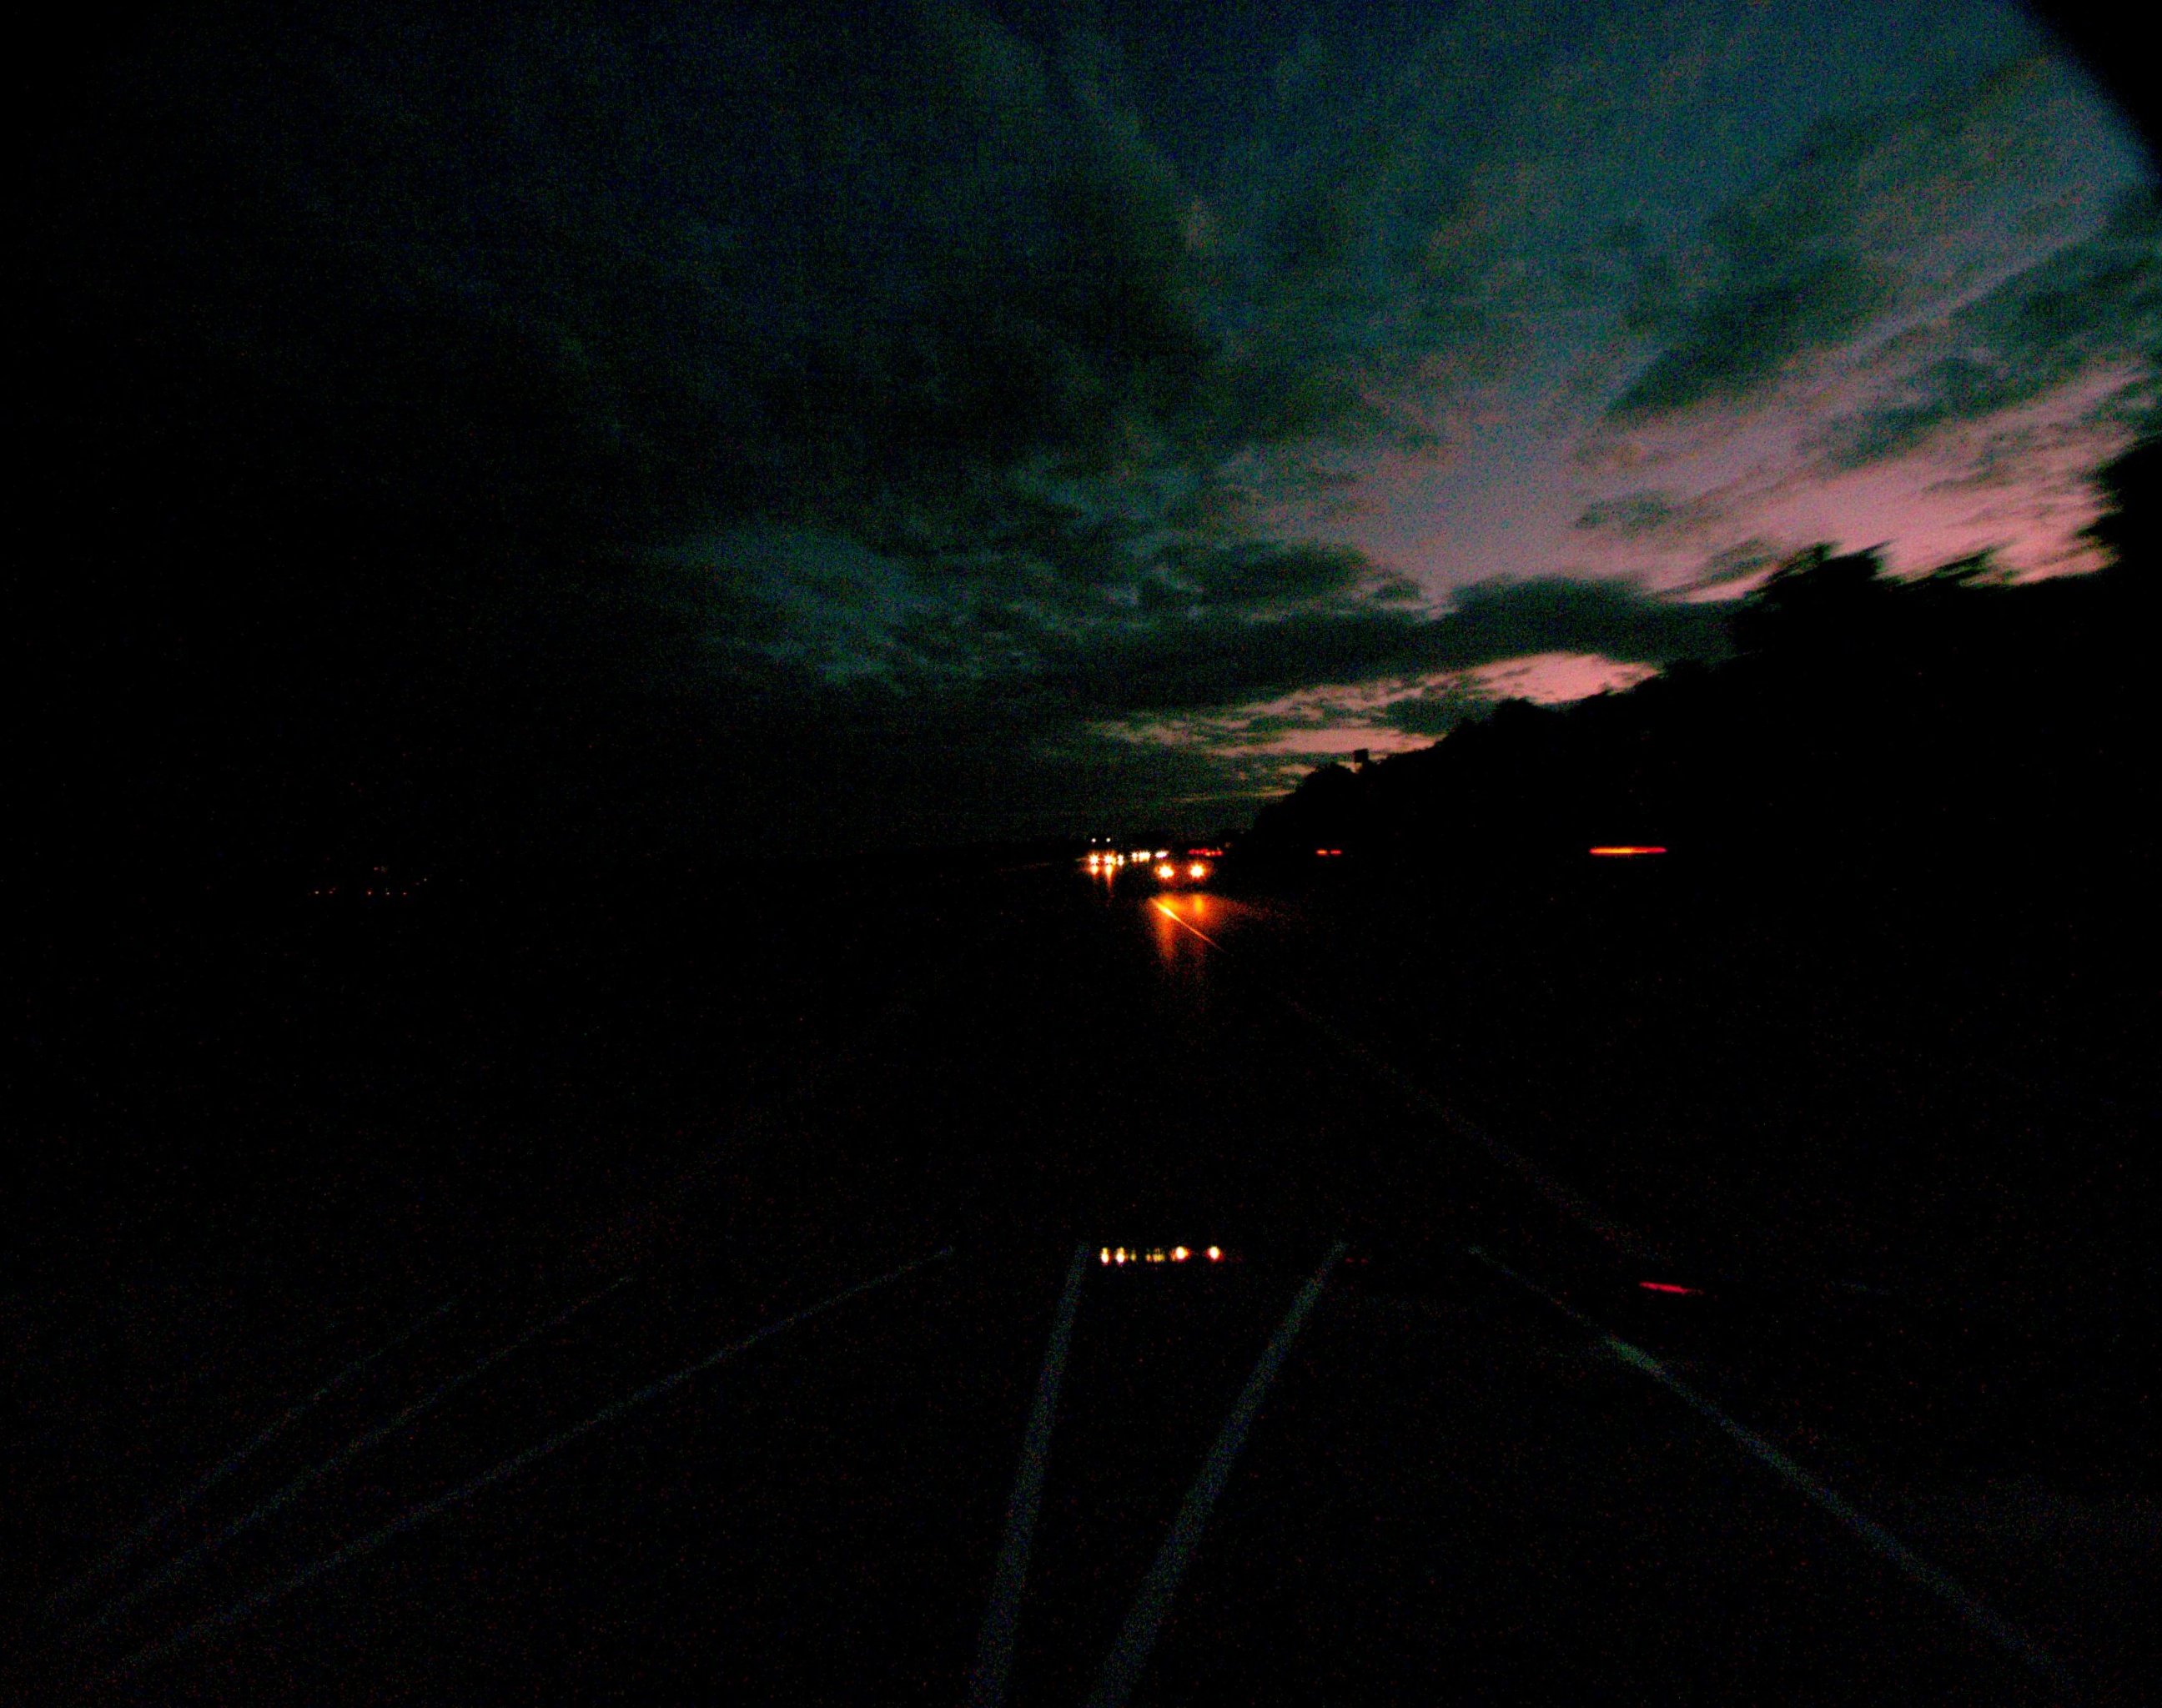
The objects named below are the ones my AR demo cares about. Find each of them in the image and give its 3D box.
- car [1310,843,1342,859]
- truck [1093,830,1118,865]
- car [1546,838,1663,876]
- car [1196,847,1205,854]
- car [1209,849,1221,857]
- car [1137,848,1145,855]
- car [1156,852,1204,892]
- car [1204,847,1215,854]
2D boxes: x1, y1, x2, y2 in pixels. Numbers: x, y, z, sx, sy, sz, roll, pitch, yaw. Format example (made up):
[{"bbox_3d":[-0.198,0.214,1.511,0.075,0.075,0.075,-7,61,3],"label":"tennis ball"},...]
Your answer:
[{"bbox_3d":[25.299,-0.335,78.647,1.998,1.496,4.506,-3,1,2],"label":"car"},{"bbox_3d":[3.310,-0.906,104.033,3.026,4.372,11.615,-3,1,2],"label":"truck"},{"bbox_3d":[24.090,0.099,35.241,1.998,1.525,5.006,-3,1,1],"label":"car"},{"bbox_3d":[34.300,-1.051,217.347,1.998,1.780,4.841,-3,1,3],"label":"car"},{"bbox_3d":[25.230,-0.233,143.096,1.838,1.328,4.911,-3,1,5],"label":"car"},{"bbox_3d":[14.497,-0.584,183.385,1.652,1.654,3.777,-3,1,7],"label":"car"},{"bbox_3d":[4.127,0.718,32.208,1.717,1.471,4.000,-3,1,3],"label":"car"},{"bbox_3d":[28.886,-0.898,170.846,1.998,1.445,3.835,-3,1,3],"label":"car"}]
